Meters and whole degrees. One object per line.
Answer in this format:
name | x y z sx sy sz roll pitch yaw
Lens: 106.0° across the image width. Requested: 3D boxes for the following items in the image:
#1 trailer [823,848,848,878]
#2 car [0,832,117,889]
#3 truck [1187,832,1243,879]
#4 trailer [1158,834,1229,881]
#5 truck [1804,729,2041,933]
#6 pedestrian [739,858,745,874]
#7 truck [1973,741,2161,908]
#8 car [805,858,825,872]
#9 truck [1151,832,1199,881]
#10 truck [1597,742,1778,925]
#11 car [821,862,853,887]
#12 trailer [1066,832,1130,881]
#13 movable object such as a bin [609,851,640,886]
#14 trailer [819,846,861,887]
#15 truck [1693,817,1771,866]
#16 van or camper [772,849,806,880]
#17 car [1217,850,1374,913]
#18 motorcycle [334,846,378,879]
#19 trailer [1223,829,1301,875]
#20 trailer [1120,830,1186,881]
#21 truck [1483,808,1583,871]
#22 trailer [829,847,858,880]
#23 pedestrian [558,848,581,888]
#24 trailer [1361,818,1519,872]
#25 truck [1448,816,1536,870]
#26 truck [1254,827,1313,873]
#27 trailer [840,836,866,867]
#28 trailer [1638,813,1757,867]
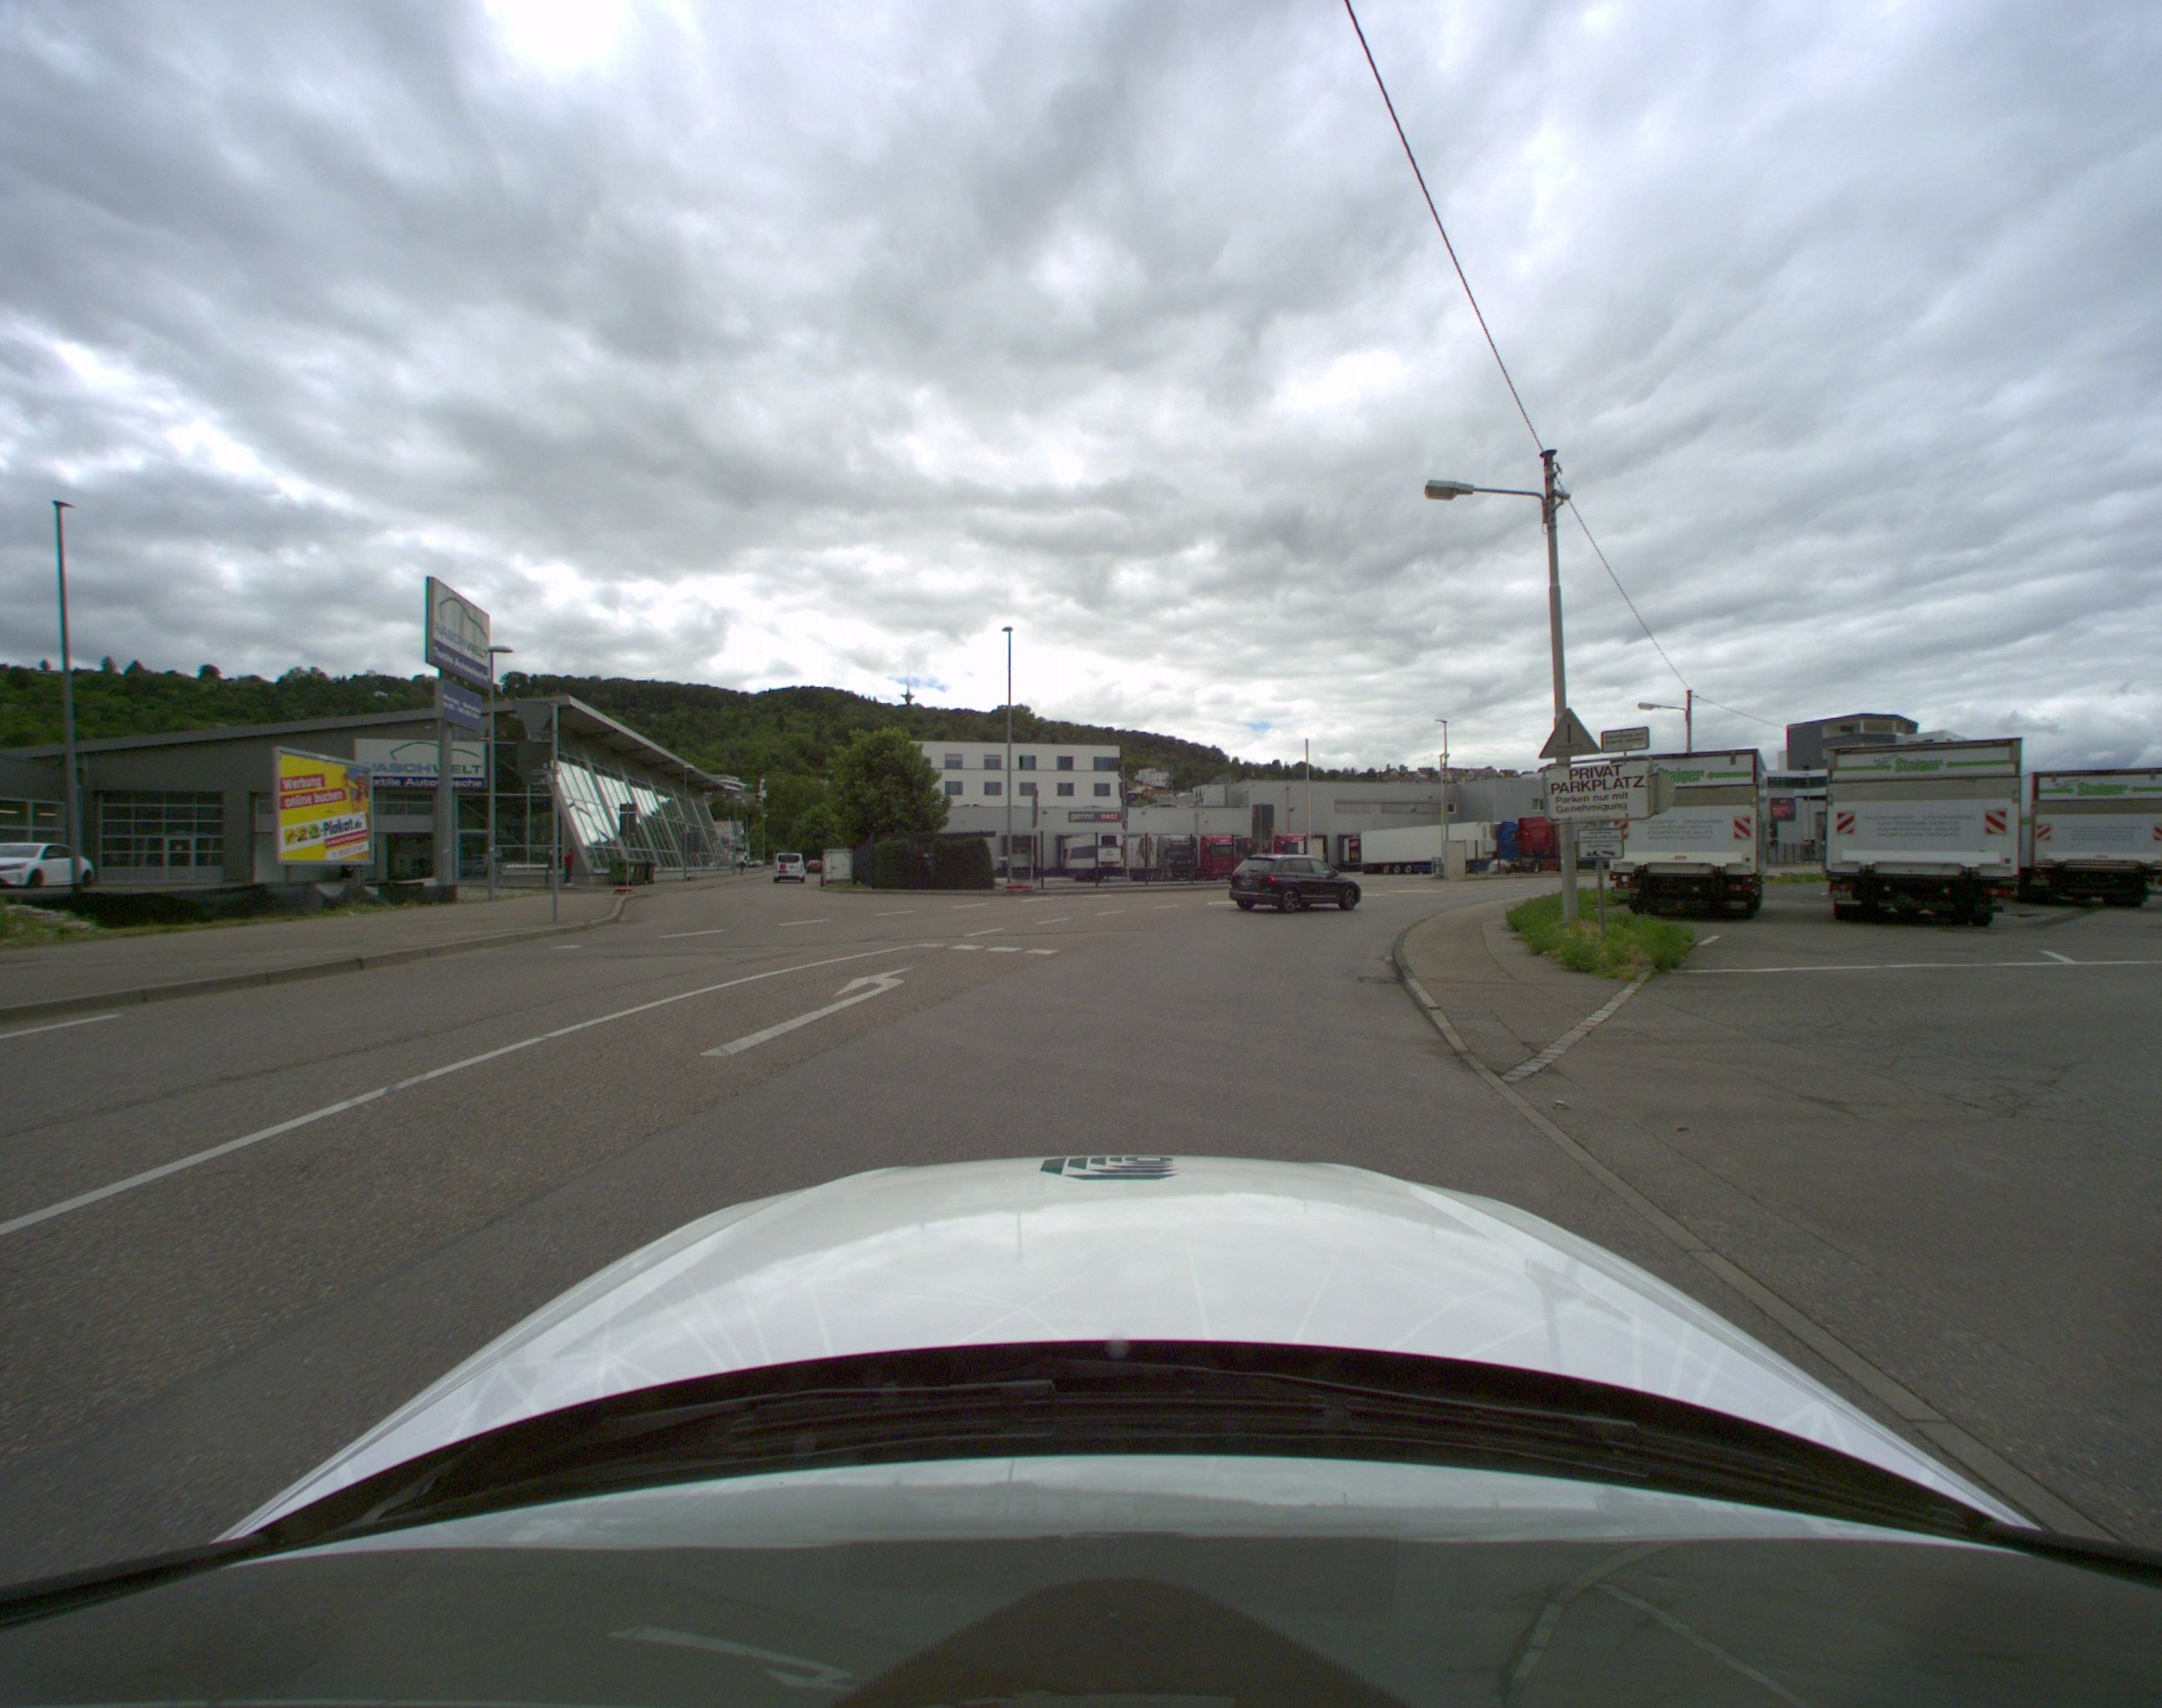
trailer | -24.259 0.851 80.482 2.283 2.953 3.979 0 0 -15
car | -30.359 0.193 23.504 2.006 1.535 3.962 0 0 -30
truck | 11.498 0.168 70.653 2.796 3.928 5.899 0 -1 -13
trailer | 10.285 0.349 76.062 2.786 4.078 10.946 0 -1 -13
truck | 18.794 -0.435 18.648 3.034 3.630 8.656 3 1 43
pedestrian | -36.630 1.280 87.981 0.629 1.673 0.753 0 -1 -19
truck | 31.899 -0.779 26.389 3.034 4.538 9.844 -1 -1 42
car | -32.211 1.370 98.771 1.996 1.684 3.982 0 -1 -13
truck | 7.908 0.214 68.714 2.796 4.040 4.147 0 -1 -13
truck | 15.420 -0.376 20.407 3.033 3.631 8.658 0 -1 40
car | -16.264 1.317 54.224 1.998 1.508 4.158 0 0 -17
trailer | 1.333 0.241 73.646 3.084 4.078 11.358 0 -1 -13
movable object such as a bin | -23.578 0.739 42.099 1.144 1.757 1.054 0 -1 -14
trailer | -12.551 0.612 42.532 1.997 2.013 3.979 0 0 -15
truck | 60.194 -1.073 75.265 6.963 4.118 3.107 0 -5 -31
van or camper | -20.343 0.746 56.838 2.105 2.083 4.177 0 -1 -19
car | 6.339 0.796 23.926 4.386 1.684 1.980 2 0 -33
motorcycle | -38.528 0.461 43.301 0.842 1.710 2.349 0 0 -17
trailer | 16.875 -0.121 77.087 2.786 4.078 10.946 0 -1 -13
trailer | 6.426 0.183 75.210 2.786 4.301 11.131 0 -1 -13
truck | 30.497 -0.921 54.859 6.966 4.020 2.901 0 -1 -33
trailer | -17.388 0.639 59.698 1.997 2.343 3.979 0 0 -15
pedestrian | -24.791 0.669 39.484 0.830 1.868 0.712 -1 0 -27
trailer | 30.148 -0.654 69.571 3.040 4.184 13.906 0 0 -24
truck | 32.179 -0.780 63.806 5.544 4.020 2.949 -1 -1 43
truck | 17.875 -0.284 72.321 2.796 3.928 5.899 0 -1 -13
trailer | -28.715 -0.328 102.552 3.074 3.759 4.908 0 0 -16
trailer | 54.566 -1.104 71.883 14.064 4.262 3.111 0 -4 -31
